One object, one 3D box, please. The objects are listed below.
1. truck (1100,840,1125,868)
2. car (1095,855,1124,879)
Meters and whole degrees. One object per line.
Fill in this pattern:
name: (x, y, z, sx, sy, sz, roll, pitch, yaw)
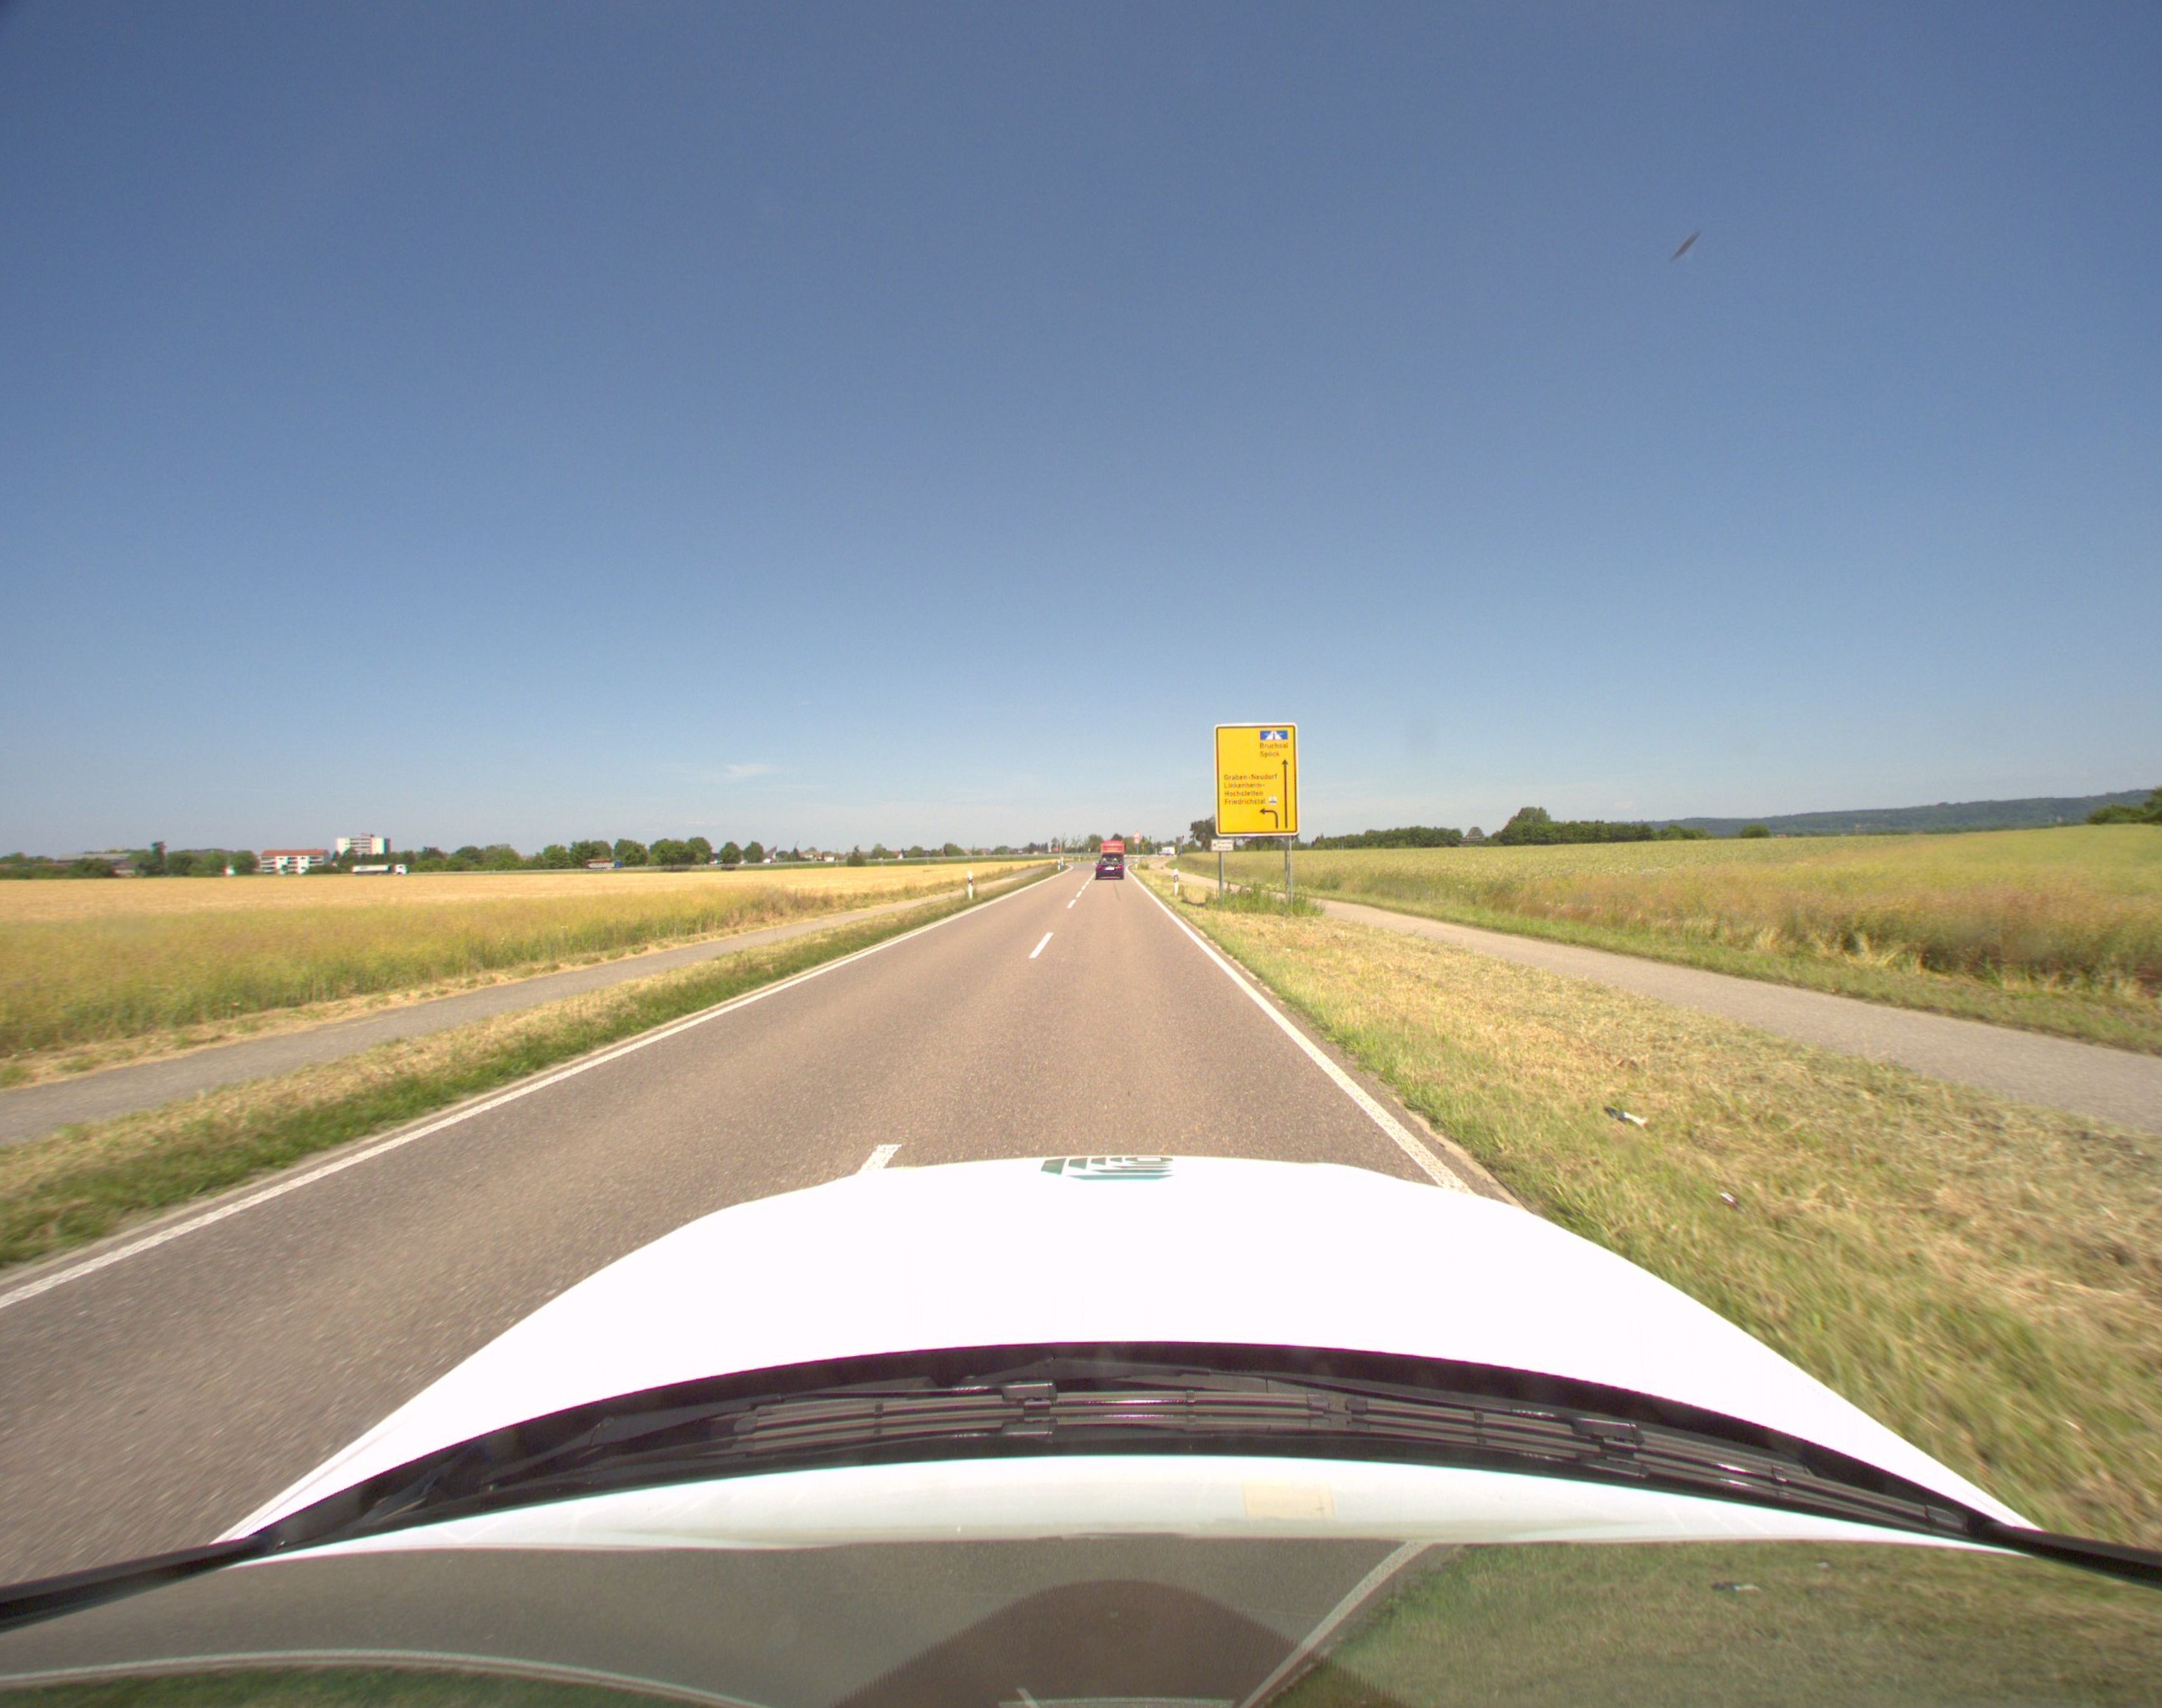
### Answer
truck: (3.632, 0.021, 93.432, 2.704, 3.053, 8.167, 0, -1, 2)
car: (1.794, 0.798, 50.784, 1.741, 1.376, 3.680, 1, -1, 2)
